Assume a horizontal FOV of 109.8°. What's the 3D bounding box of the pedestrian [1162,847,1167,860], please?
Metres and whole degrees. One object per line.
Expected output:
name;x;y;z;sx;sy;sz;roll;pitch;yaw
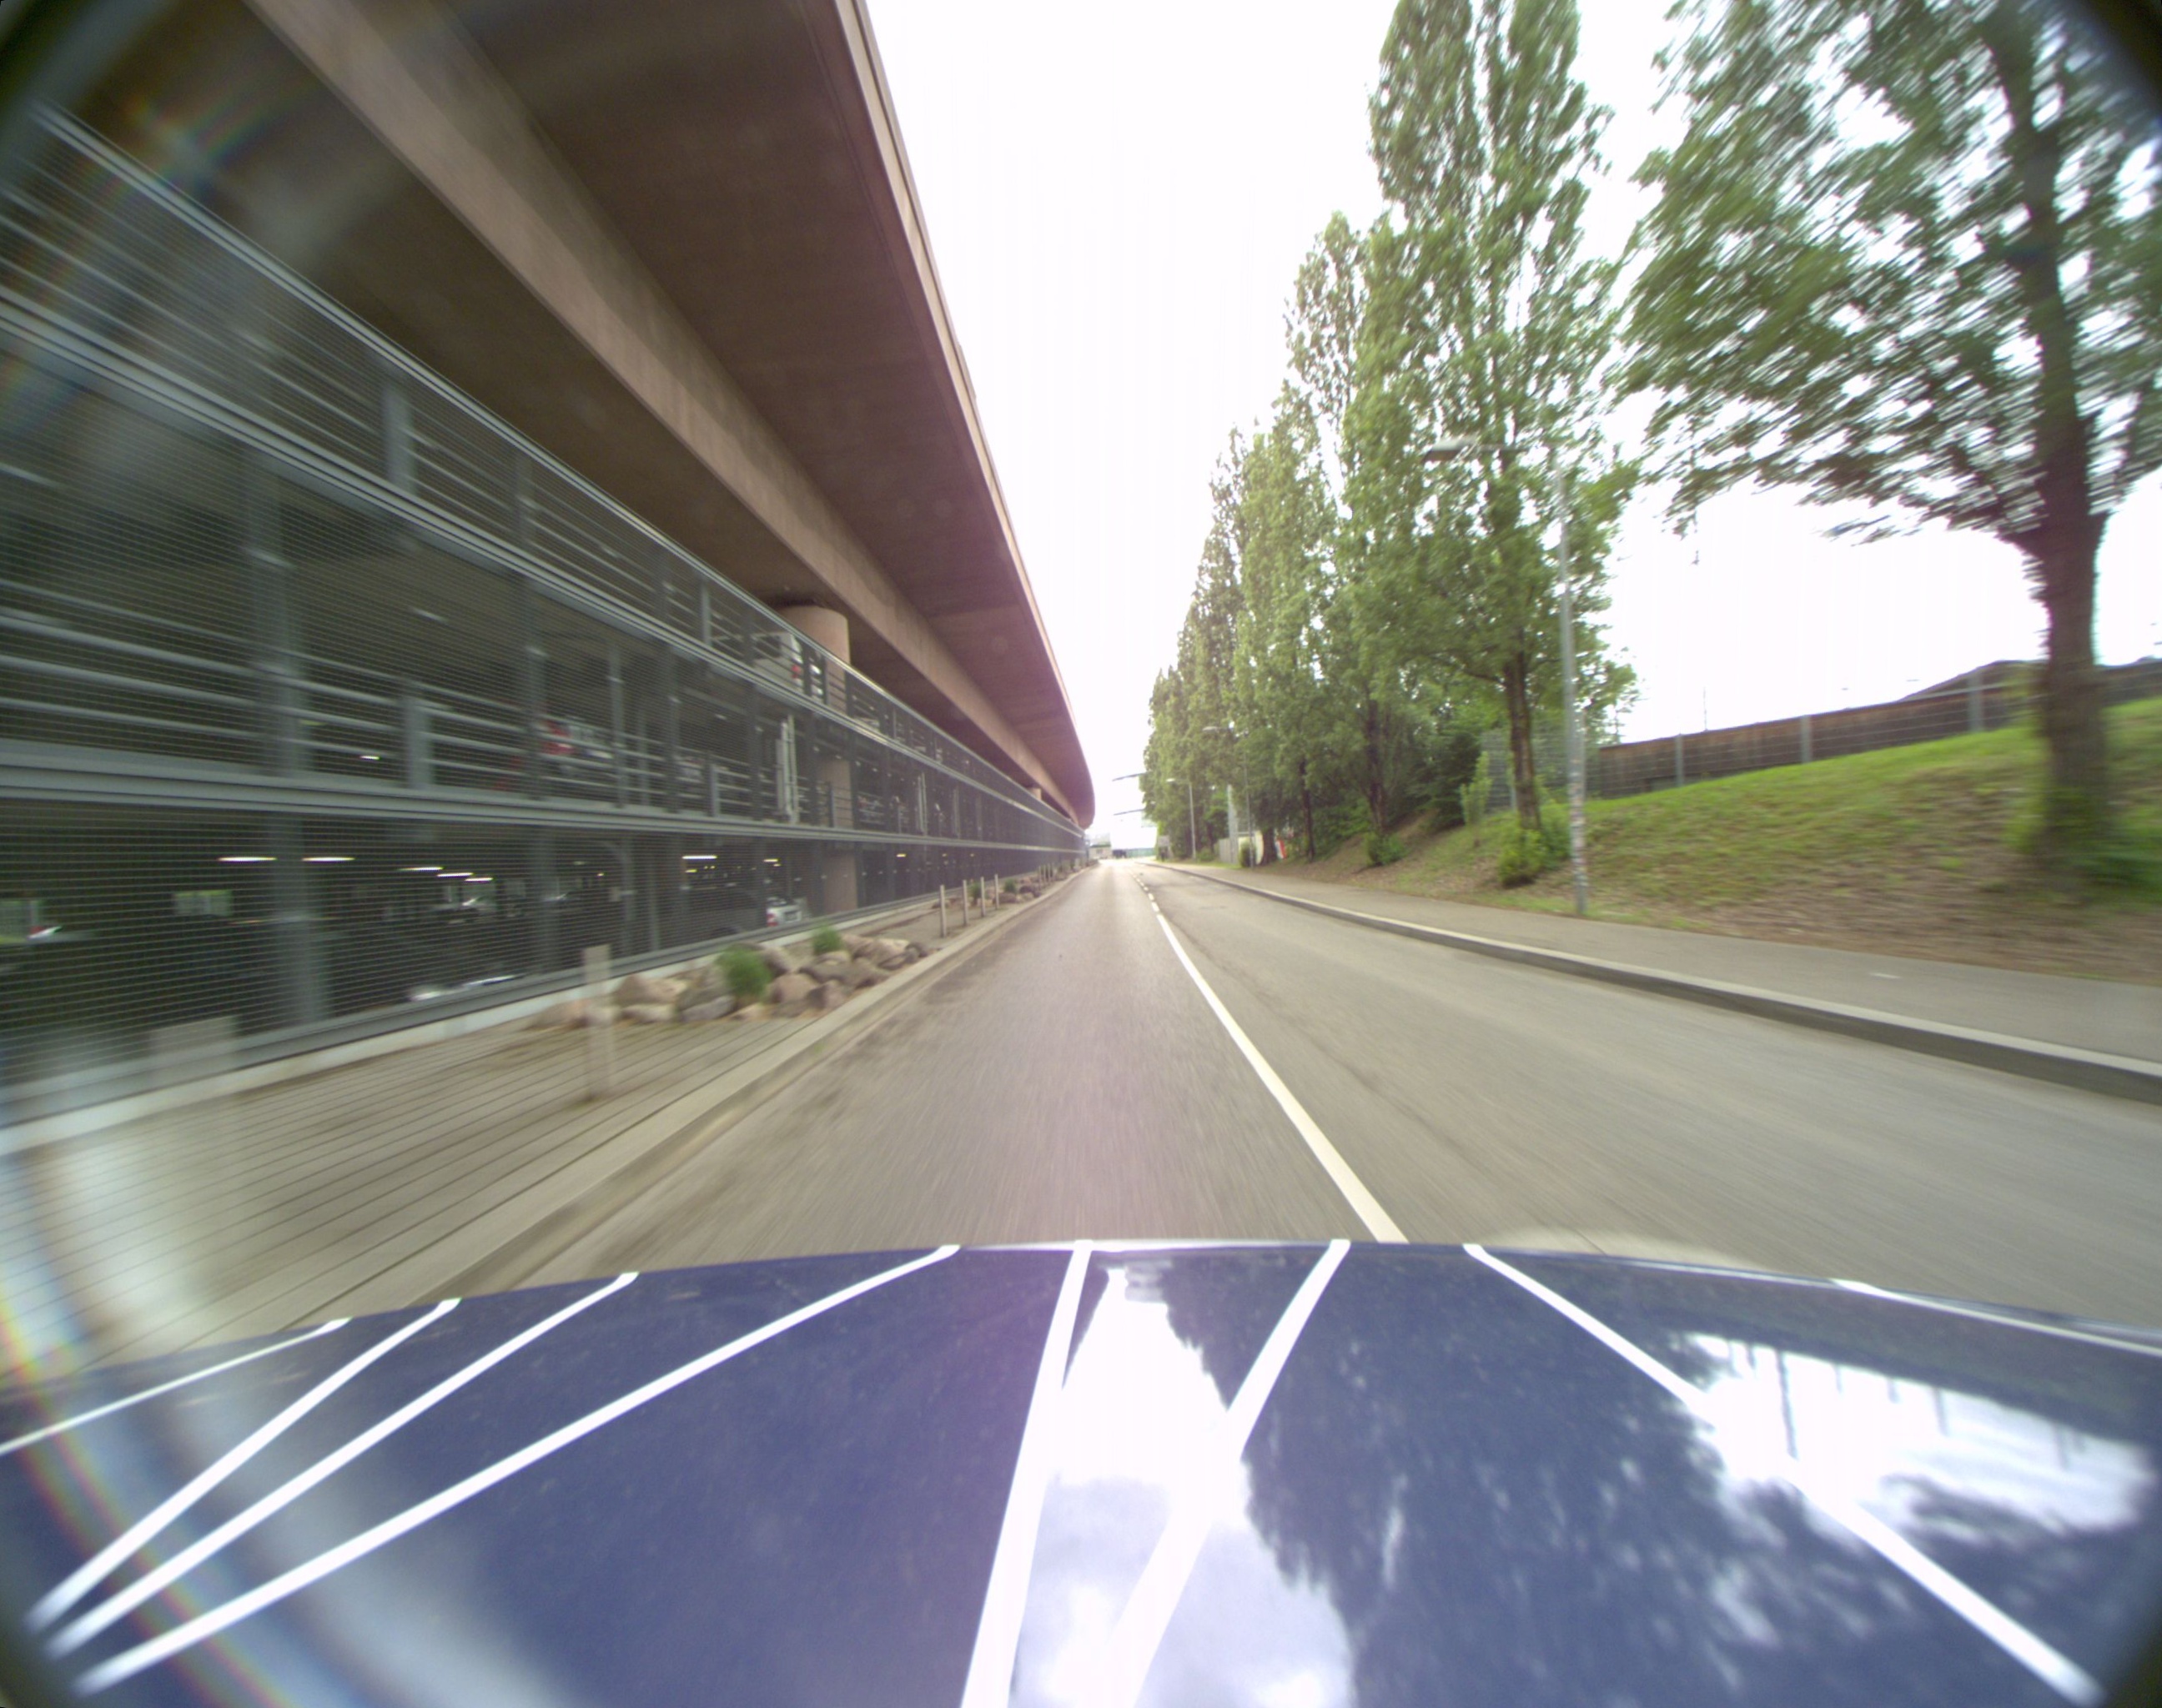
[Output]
pedestrian;12.375;-0.073;112.773;0.662;1.882;0.737;-1;1;3
